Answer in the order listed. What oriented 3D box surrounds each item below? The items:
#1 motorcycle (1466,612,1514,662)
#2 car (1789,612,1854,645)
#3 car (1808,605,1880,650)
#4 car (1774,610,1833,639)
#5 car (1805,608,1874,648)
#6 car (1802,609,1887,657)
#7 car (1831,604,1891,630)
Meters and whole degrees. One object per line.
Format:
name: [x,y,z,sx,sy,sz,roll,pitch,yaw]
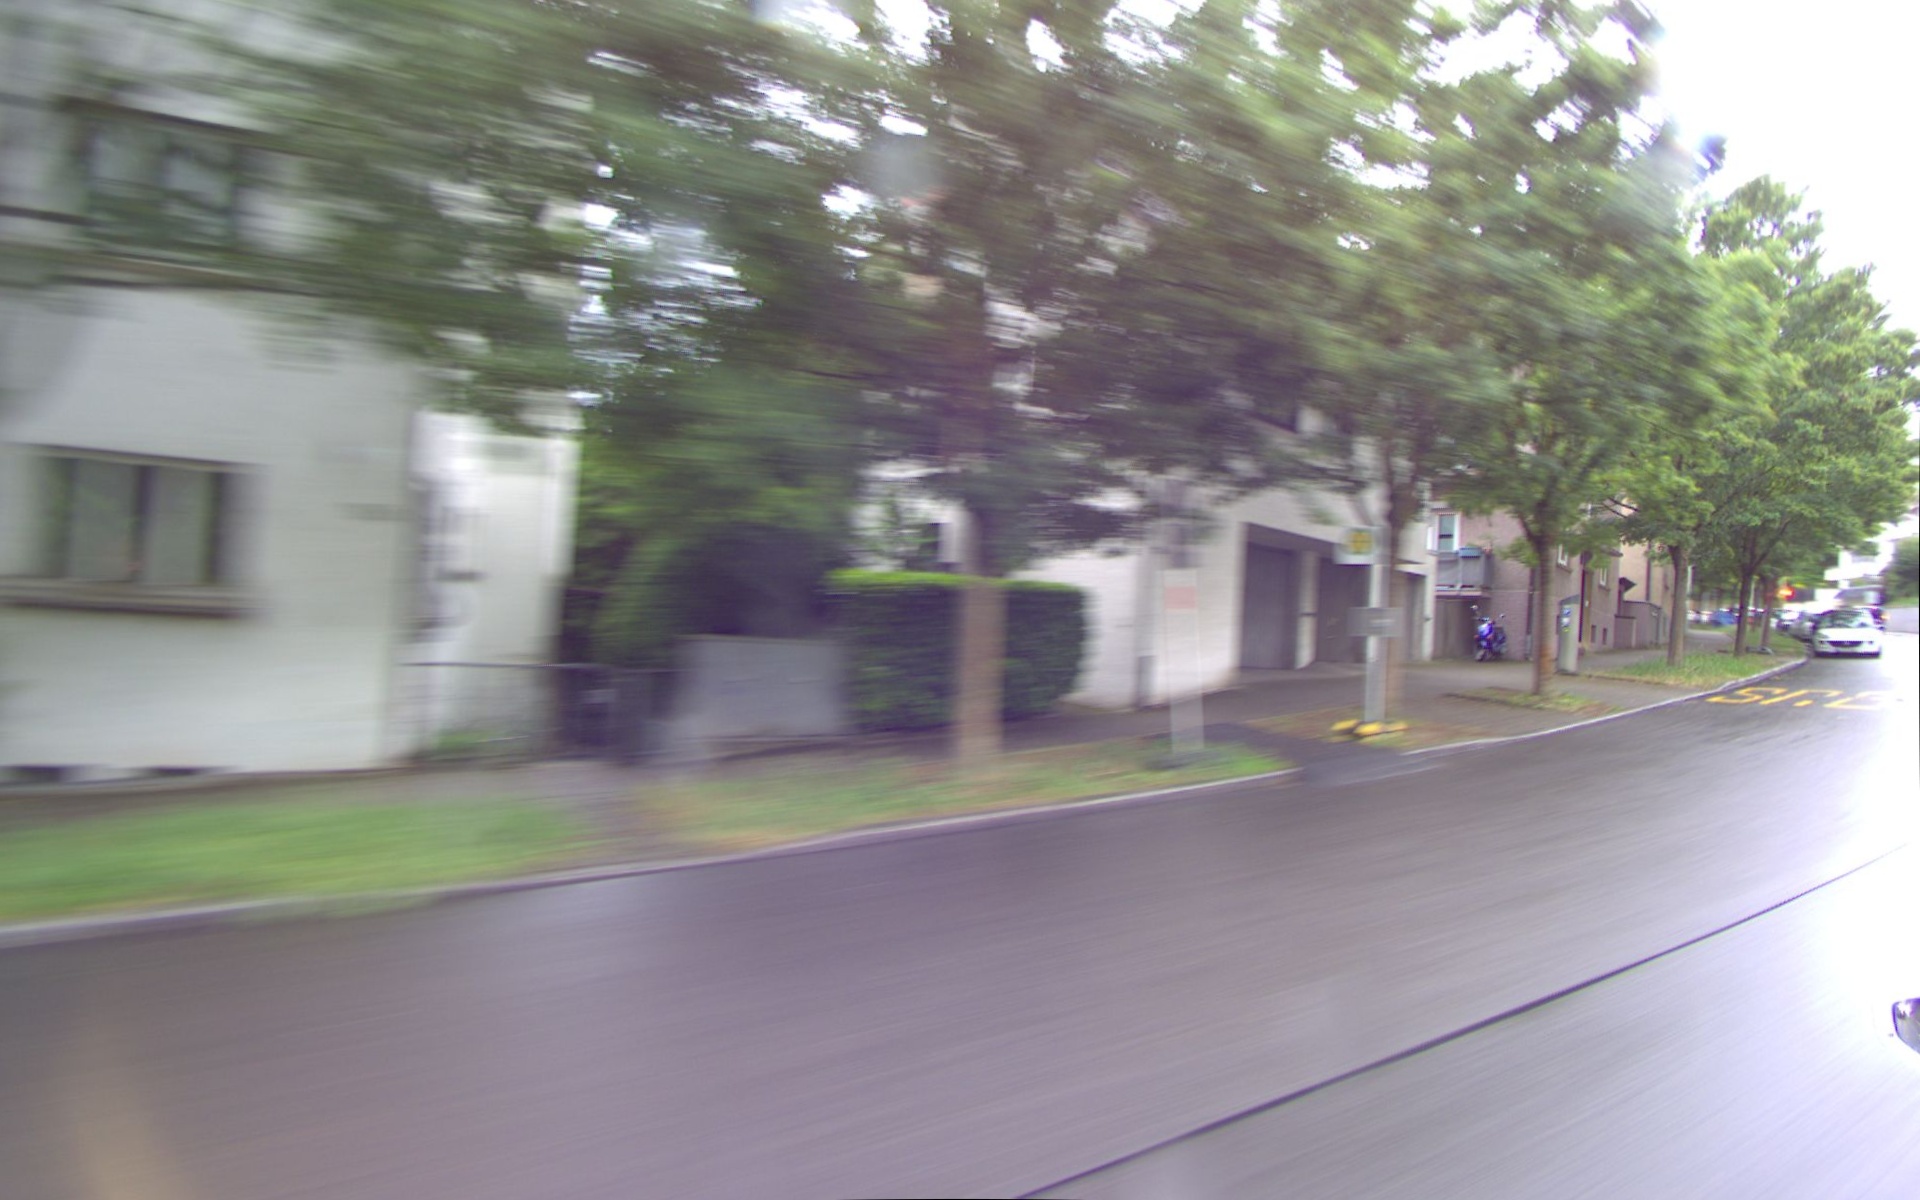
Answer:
motorcycle: [13.587,0.938,25.741,0.607,1.175,1.688,3,3,44]
car: [41.778,1.374,48.772,1.967,1.494,3.987,0,-1,35]
car: [33.999,1.039,38.712,1.855,1.617,3.983,0,0,38]
car: [45.405,1.296,54.168,1.966,1.494,3.989,0,-1,33]
car: [37.481,1.189,42.889,1.969,1.595,3.984,-1,-1,38]
car: [30.780,1.120,35.060,1.969,1.550,3.983,0,0,38]
car: [61.839,1.161,69.012,1.962,1.706,3.996,0,0,26]
